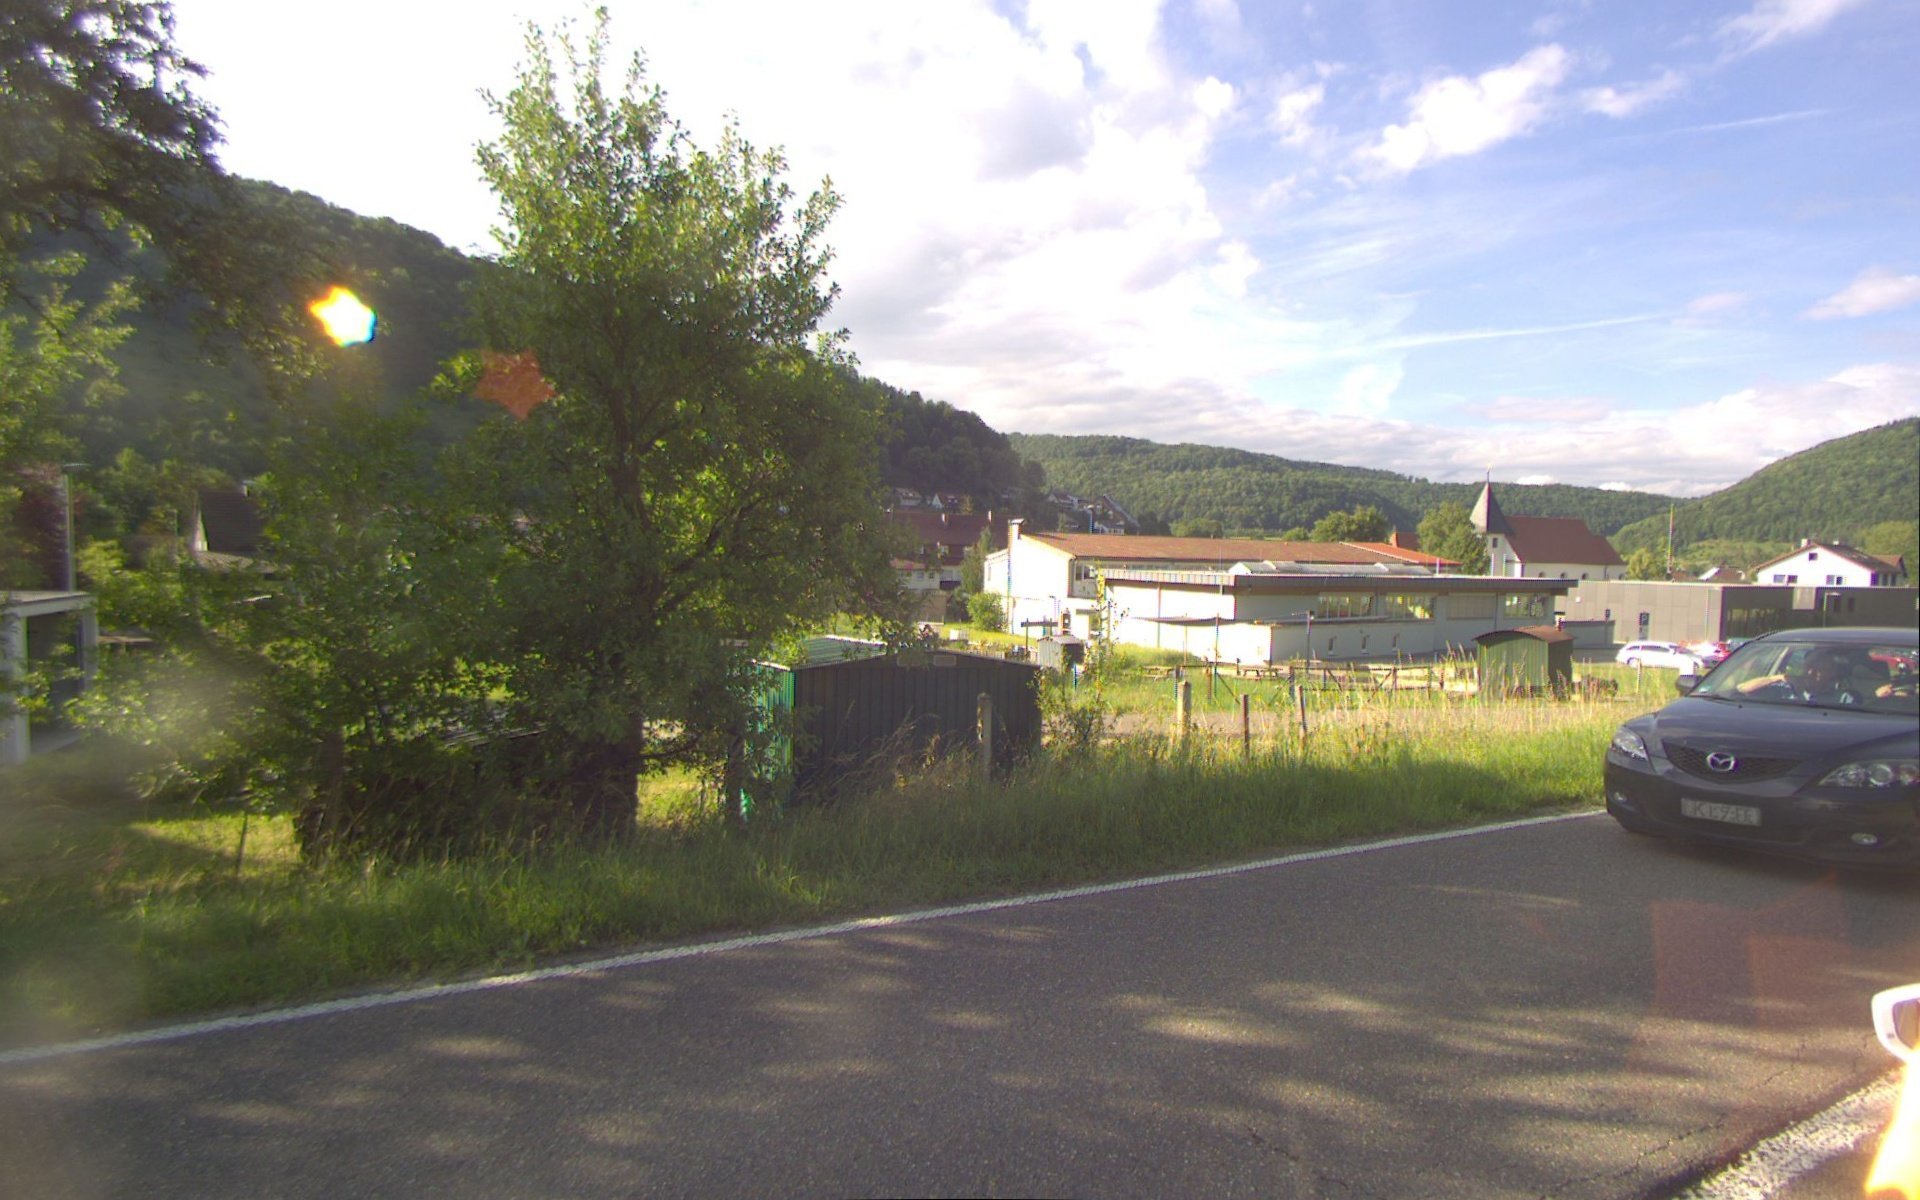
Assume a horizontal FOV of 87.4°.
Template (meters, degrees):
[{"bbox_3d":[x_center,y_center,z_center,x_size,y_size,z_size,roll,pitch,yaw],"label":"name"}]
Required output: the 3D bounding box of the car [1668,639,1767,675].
[{"bbox_3d":[42.213,3.151,56.029,1.978,1.733,3.965,2,0,-32],"label":"car"}]

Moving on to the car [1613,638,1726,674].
[{"bbox_3d":[39.112,3.052,55.501,1.978,1.733,4.705,2,0,-32],"label":"car"}]

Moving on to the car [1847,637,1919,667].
[{"bbox_3d":[60.445,3.346,65.130,1.978,1.733,3.965,2,0,-32],"label":"car"}]

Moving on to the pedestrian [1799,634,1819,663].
[{"bbox_3d":[61.281,3.473,72.484,0.962,2.040,0.821,2,0,-30],"label":"pedestrian"}]

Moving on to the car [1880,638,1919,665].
[{"bbox_3d":[64.456,3.482,67.159,1.978,1.733,3.965,2,0,-32],"label":"car"}]

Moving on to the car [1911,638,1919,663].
[{"bbox_3d":[70.176,3.682,70.981,1.978,1.733,3.965,2,0,-32],"label":"car"}]

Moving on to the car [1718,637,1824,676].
[{"bbox_3d":[47.307,3.255,58.679,1.978,2.034,4.382,2,0,-32],"label":"car"}]

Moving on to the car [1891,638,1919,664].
[{"bbox_3d":[67.334,3.585,69.417,1.978,1.733,3.965,2,0,-32],"label":"car"}]

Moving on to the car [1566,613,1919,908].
[{"bbox_3d":[6.095,0.877,6.818,4.003,1.449,1.696,2,0,-31],"label":"car"}]
